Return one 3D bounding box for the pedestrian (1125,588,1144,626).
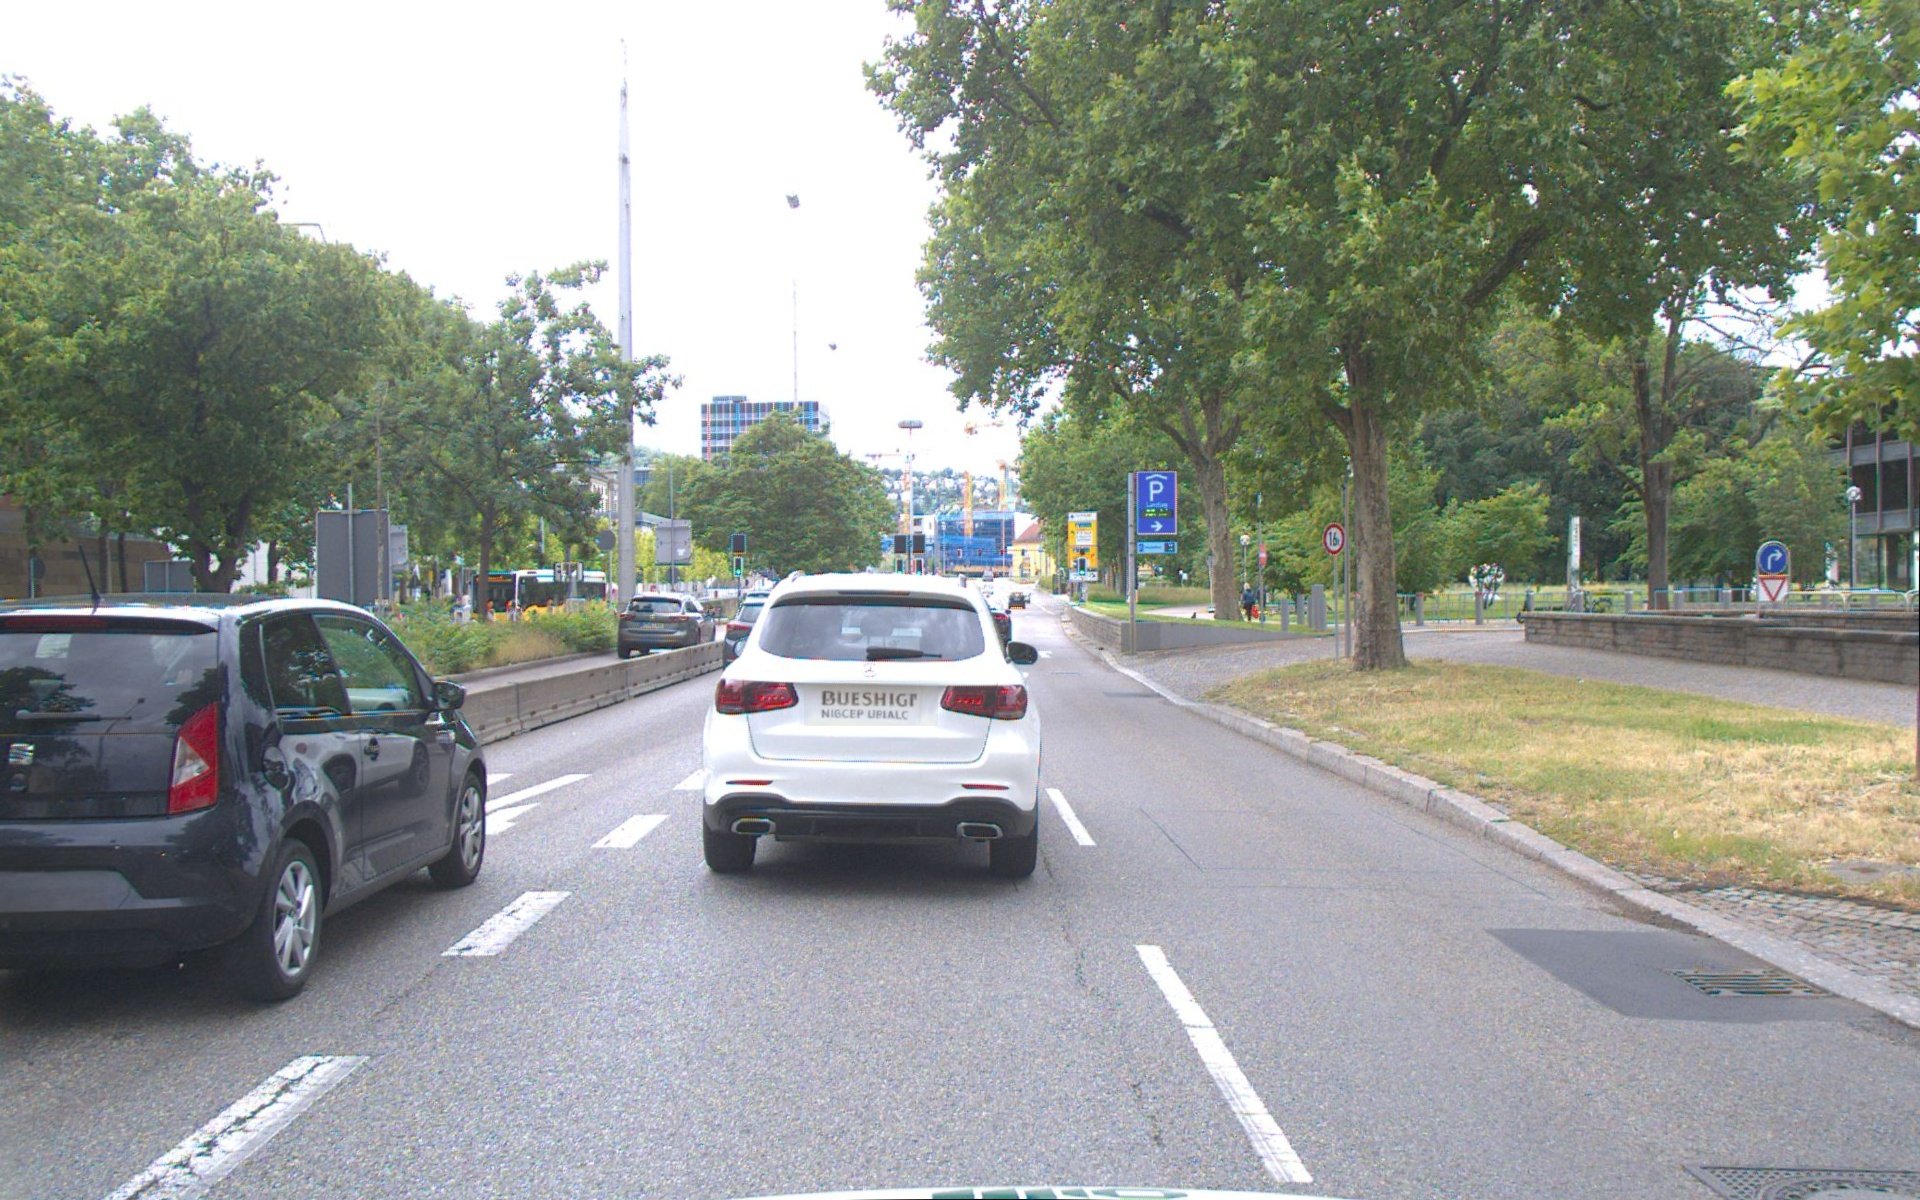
[{"bbox_3d":[9.423,0.382,89.408,0.746,2.049,0.696,0,0,35],"label":"pedestrian"}]

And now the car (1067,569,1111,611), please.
[{"bbox_3d":[6.547,-0.496,84.348,1.952,2.049,4.000,0,0,0],"label":"car"}]

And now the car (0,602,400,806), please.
[{"bbox_3d":[-6.256,0.732,13.865,1.644,1.391,4.542,0,0,-1],"label":"car"}]

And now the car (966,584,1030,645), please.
[{"bbox_3d":[1.114,0.407,50.619,1.788,1.783,3.999,0,0,-1],"label":"car"}]

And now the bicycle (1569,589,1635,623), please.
[{"bbox_3d":[19.994,0.190,51.585,0.934,0.992,2.786,2,0,-1],"label":"bicycle"}]

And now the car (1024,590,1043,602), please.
[{"bbox_3d":[8.026,-0.407,181.550,1.907,1.343,4.016,0,0,0],"label":"car"}]

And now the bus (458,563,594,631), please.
[{"bbox_3d":[-22.766,-0.185,87.822,3.593,3.261,14.271,-1,0,-1],"label":"bus"}]

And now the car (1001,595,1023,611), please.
[{"bbox_3d":[4.689,0.258,150.381,1.907,1.453,4.016,0,0,0],"label":"car"}]

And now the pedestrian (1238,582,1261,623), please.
[{"bbox_3d":[11.572,0.108,66.089,0.651,1.639,0.637,0,0,-19],"label":"pedestrian"}]

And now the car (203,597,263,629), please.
[{"bbox_3d":[-45.046,0.782,102.568,1.953,1.948,3.999,0,0,-1],"label":"car"}]

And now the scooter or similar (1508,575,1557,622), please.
[{"bbox_3d":[15.858,-0.036,45.852,0.622,1.267,2.226,1,0,2],"label":"scooter or similar"}]

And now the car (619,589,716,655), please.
[{"bbox_3d":[-6.744,0.498,38.482,1.627,1.461,3.959,0,0,-1],"label":"car"}]

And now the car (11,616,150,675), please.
[{"bbox_3d":[-22.719,1.142,42.889,1.626,1.407,3.803,0,0,-1],"label":"car"}]

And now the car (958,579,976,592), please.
[{"bbox_3d":[0.712,-1.490,174.225,1.907,1.343,4.016,0,0,0],"label":"car"}]

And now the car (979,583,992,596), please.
[{"bbox_3d":[3.617,-1.470,232.217,1.722,1.698,4.167,0,0,0],"label":"car"}]

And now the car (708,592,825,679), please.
[{"bbox_3d":[-3.436,0.605,29.988,1.761,1.462,4.018,0,0,-2],"label":"car"}]

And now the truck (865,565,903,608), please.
[{"bbox_3d":[-5.435,-0.958,118.699,2.568,2.911,7.076,1,0,-2],"label":"truck"}]

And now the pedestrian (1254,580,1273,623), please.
[{"bbox_3d":[12.579,0.074,68.528,0.743,1.755,0.699,0,0,7],"label":"pedestrian"}]

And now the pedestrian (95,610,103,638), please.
[{"bbox_3d":[-35.127,0.979,67.504,0.211,1.097,0.258,2,-1,-19],"label":"pedestrian"}]

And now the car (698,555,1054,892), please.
[{"bbox_3d":[-0.377,0.605,10.368,1.751,1.653,4.438,0,0,1],"label":"car"}]

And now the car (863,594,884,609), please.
[{"bbox_3d":[-7.707,0.116,147.062,1.625,1.343,3.547,0,0,0],"label":"car"}]

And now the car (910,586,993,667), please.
[{"bbox_3d":[-0.229,0.539,36.084,1.626,1.668,3.545,0,0,-3],"label":"car"}]

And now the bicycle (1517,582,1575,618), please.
[{"bbox_3d":[18.421,0.004,52.024,0.934,1.082,2.335,2,0,-1],"label":"bicycle"}]

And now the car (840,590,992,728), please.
[{"bbox_3d":[-0.674,0.709,22.159,1.761,1.636,3.751,-2,0,-5],"label":"car"}]

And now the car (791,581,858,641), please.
[{"bbox_3d":[-3.892,0.321,48.042,1.814,1.656,4.903,0,0,-3],"label":"car"}]

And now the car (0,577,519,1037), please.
[{"bbox_3d":[-3.183,0.674,7.210,1.575,1.499,3.622,0,0,-1],"label":"car"}]

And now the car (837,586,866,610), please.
[{"bbox_3d":[-6.895,-0.126,105.287,1.625,1.540,3.547,0,0,0],"label":"car"}]

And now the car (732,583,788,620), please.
[{"bbox_3d":[-7.993,0.033,66.466,1.739,1.445,4.000,0,0,0],"label":"car"}]
